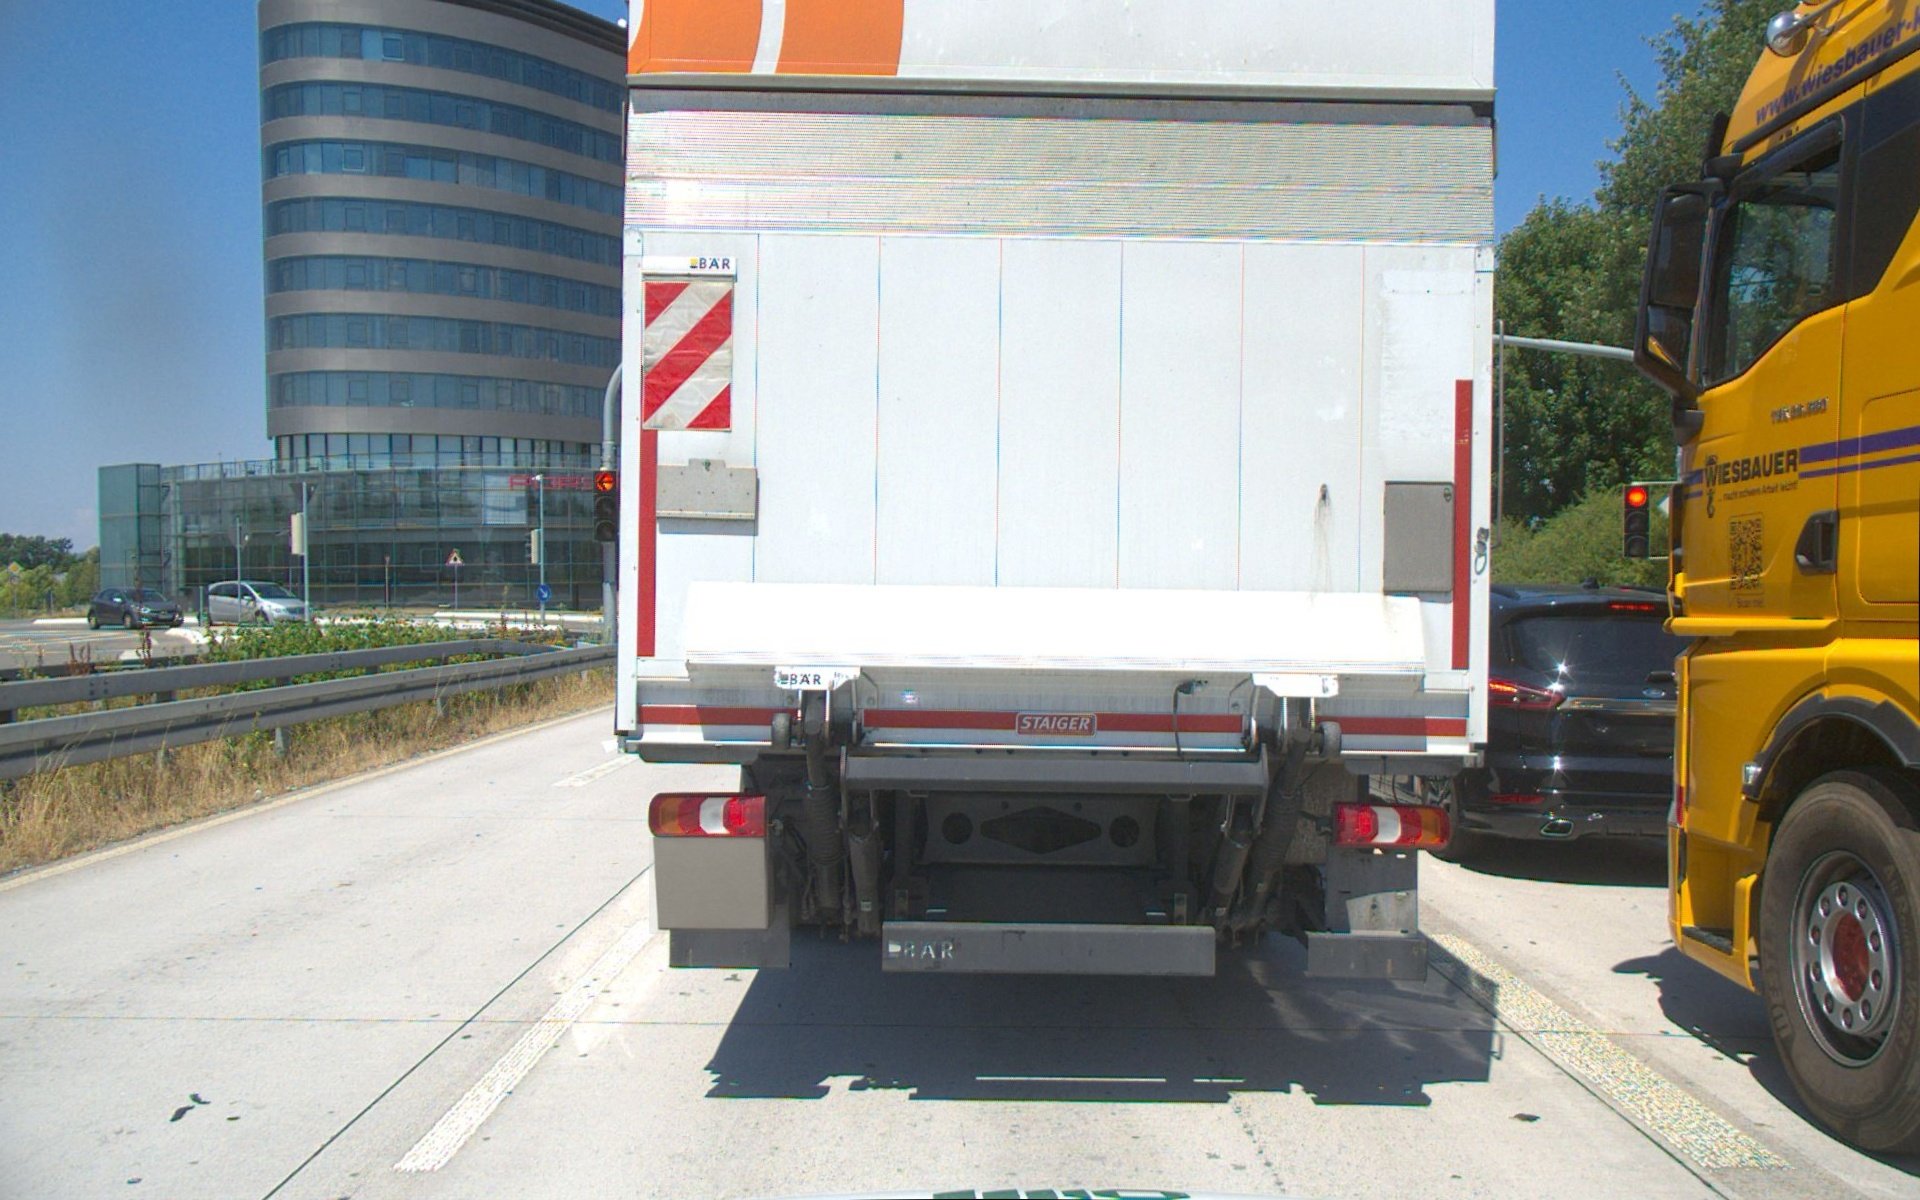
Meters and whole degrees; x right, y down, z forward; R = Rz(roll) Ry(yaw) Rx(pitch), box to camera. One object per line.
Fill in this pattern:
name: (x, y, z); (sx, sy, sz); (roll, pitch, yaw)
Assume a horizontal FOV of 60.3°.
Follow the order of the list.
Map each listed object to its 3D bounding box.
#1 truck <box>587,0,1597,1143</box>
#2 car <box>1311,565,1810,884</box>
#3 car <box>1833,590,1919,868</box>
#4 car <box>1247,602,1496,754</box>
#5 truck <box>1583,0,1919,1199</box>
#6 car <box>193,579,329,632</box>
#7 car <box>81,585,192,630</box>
truck: (0.313, -0.482, 9.199); (2.713, 3.927, 9.368); (1, 0, -1)
car: (3.696, 0.673, 11.147); (1.747, 1.668, 4.648); (1, 0, 1)
car: (7.330, 0.865, 9.603); (1.733, 1.839, 4.788); (1, 0, -4)
car: (4.387, 0.769, 18.327); (1.731, 1.435, 4.611); (1, 0, 2)
truck: (3.950, -0.407, 2.485); (2.953, 3.838, 7.466); (1, 0, -2)
car: (-22.659, 0.204, 53.590); (4.231, 1.623, 1.775); (-1, -2, 27)
car: (-28.834, 0.286, 57.872); (4.241, 1.482, 1.691); (-2, -2, 35)
